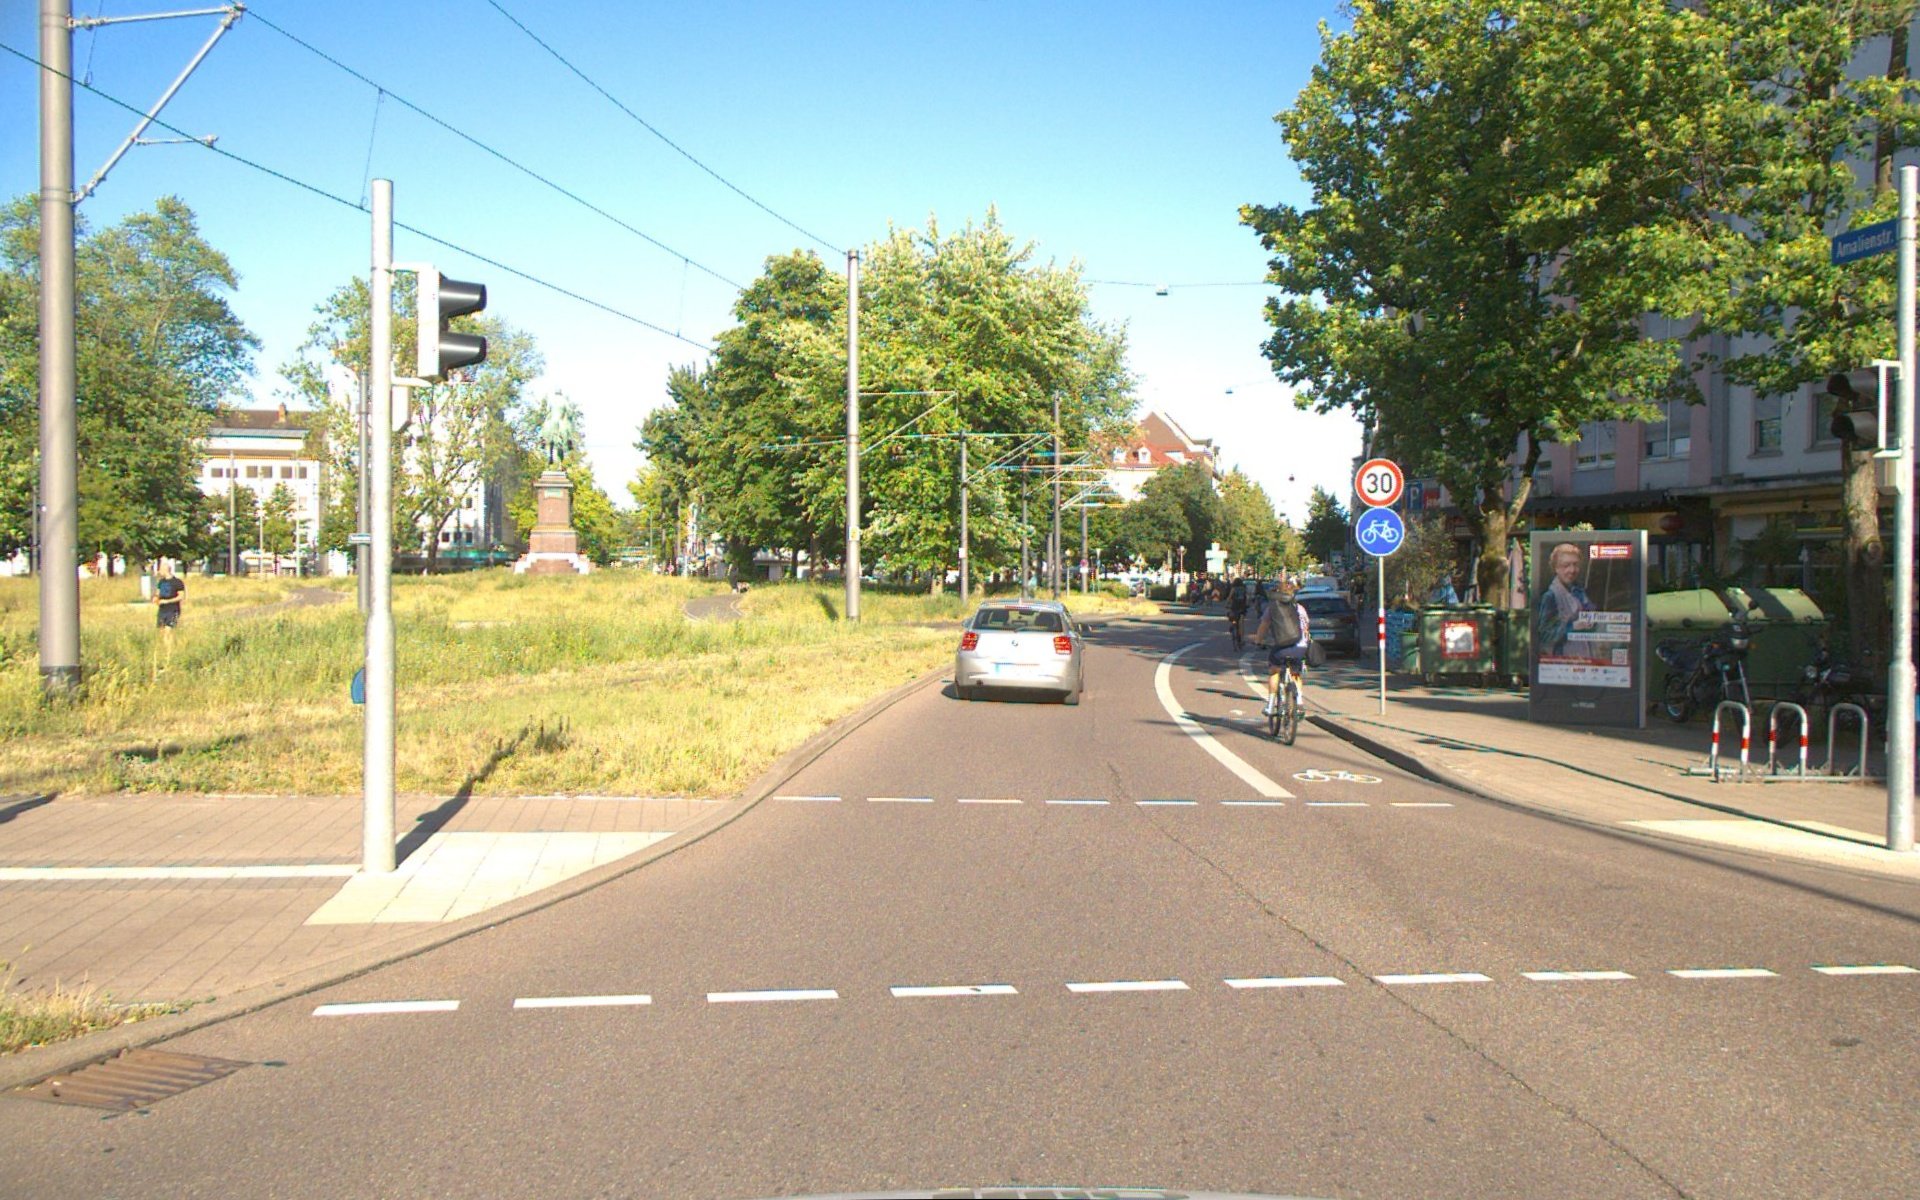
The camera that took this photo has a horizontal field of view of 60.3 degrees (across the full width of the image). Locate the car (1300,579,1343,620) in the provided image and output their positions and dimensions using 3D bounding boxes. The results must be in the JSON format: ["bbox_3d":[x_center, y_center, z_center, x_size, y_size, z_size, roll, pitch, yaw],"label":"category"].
[{"bbox_3d":[17.590,-0.005,80.447,1.951,1.844,4.313,2,-1,13],"label":"car"}]

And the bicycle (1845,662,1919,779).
[{"bbox_3d":[8.739,1.087,14.445,0.467,1.002,2.112,2,-1,-14],"label":"bicycle"}]

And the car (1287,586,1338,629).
[{"bbox_3d":[13.649,0.321,63.884,1.636,1.545,4.202,2,-1,15],"label":"car"}]

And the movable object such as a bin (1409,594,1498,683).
[{"bbox_3d":[8.296,0.644,27.860,1.253,1.416,0.922,2,-1,7],"label":"movable object such as a bin"}]

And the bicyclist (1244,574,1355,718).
[{"bbox_3d":[3.745,0.499,18.343,1.016,1.510,0.989,2,-1,2],"label":"bicyclist"}]

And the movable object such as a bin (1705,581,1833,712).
[{"bbox_3d":[10.956,0.620,22.425,1.233,1.739,0.942,0,-1,-12],"label":"movable object such as a bin"}]

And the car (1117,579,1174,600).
[{"bbox_3d":[18.566,-1.055,165.639,5.173,1.831,2.156,2,-1,-14],"label":"car"}]

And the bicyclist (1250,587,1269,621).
[{"bbox_3d":[13.614,0.189,75.217,0.769,1.478,1.096,2,-1,12],"label":"bicyclist"}]

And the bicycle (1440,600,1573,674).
[{"bbox_3d":[9.915,0.645,30.039,2.125,1.272,0.896,1,0,36],"label":"bicycle"}]

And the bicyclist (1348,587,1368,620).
[{"bbox_3d":[16.608,0.149,68.968,0.742,1.349,0.995,2,-1,15],"label":"bicyclist"}]

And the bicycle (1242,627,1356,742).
[{"bbox_3d":[3.741,0.899,18.426,0.867,1.155,2.229,2,-1,2],"label":"bicycle"}]

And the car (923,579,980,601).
[{"bbox_3d":[-0.884,-1.009,166.403,5.480,2.049,1.811,2,-1,-14],"label":"car"}]

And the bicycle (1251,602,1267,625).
[{"bbox_3d":[13.617,0.628,75.260,0.638,0.975,2.700,2,-1,12],"label":"bicycle"}]

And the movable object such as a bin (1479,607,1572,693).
[{"bbox_3d":[9.505,0.826,27.811,1.150,1.379,0.925,2,-1,-10],"label":"movable object such as a bin"}]

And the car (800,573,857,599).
[{"bbox_3d":[-12.647,-1.338,159.007,5.239,2.354,1.995,2,-1,-10],"label":"car"}]

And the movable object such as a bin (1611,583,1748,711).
[{"bbox_3d":[9.661,0.627,22.246,1.356,1.668,1.005,1,-1,-12],"label":"movable object such as a bin"}]

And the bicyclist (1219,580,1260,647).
[{"bbox_3d":[7.133,0.335,42.237,0.919,1.662,0.936,2,-1,6],"label":"bicyclist"}]

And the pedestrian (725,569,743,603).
[{"bbox_3d":[-11.147,-0.686,81.606,0.668,1.644,0.547,3,-1,-39],"label":"pedestrian"}]

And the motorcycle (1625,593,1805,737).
[{"bbox_3d":[8.929,0.720,19.703,0.787,1.566,2.543,2,0,-4],"label":"motorcycle"}]

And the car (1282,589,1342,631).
[{"bbox_3d":[12.638,0.375,59.189,1.812,1.367,4.602,2,-1,15],"label":"car"}]

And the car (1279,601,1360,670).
[{"bbox_3d":[8.373,0.785,38.788,1.727,1.463,4.587,0,0,11],"label":"car"}]

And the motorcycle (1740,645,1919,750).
[{"bbox_3d":[9.564,1.047,17.773,2.058,1.039,0.760,2,0,-10],"label":"motorcycle"}]

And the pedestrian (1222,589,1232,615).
[{"bbox_3d":[18.081,0.137,111.996,0.622,1.701,0.693,2,-1,14],"label":"pedestrian"}]

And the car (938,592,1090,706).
[{"bbox_3d":[0.882,0.678,24.229,1.951,1.448,4.199,2,0,5],"label":"car"}]

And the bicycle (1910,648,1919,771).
[{"bbox_3d":[9.423,1.033,14.584,0.467,1.136,2.112,2,-1,-14],"label":"bicycle"}]

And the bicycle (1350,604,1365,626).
[{"bbox_3d":[16.569,0.635,68.945,0.523,0.907,2.071,2,-1,15],"label":"bicycle"}]

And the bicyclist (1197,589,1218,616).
[{"bbox_3d":[14.141,0.155,94.580,0.913,1.534,0.822,2,-1,-14],"label":"bicyclist"}]

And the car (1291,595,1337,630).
[{"bbox_3d":[15.893,0.572,74.085,1.737,1.479,4.734,2,-1,15],"label":"car"}]

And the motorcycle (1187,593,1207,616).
[{"bbox_3d":[15.102,0.276,105.411,0.732,1.398,1.757,2,-1,-10],"label":"motorcycle"}]

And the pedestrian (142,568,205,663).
[{"bbox_3d":[-14.426,0.277,30.345,0.718,1.700,0.745,1,0,14],"label":"pedestrian"}]

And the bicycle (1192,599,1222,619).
[{"bbox_3d":[14.131,0.500,94.611,0.796,1.087,2.574,2,0,-13],"label":"bicycle"}]

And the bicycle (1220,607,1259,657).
[{"bbox_3d":[7.120,0.803,42.265,0.802,1.206,1.965,2,-1,5],"label":"bicycle"}]
